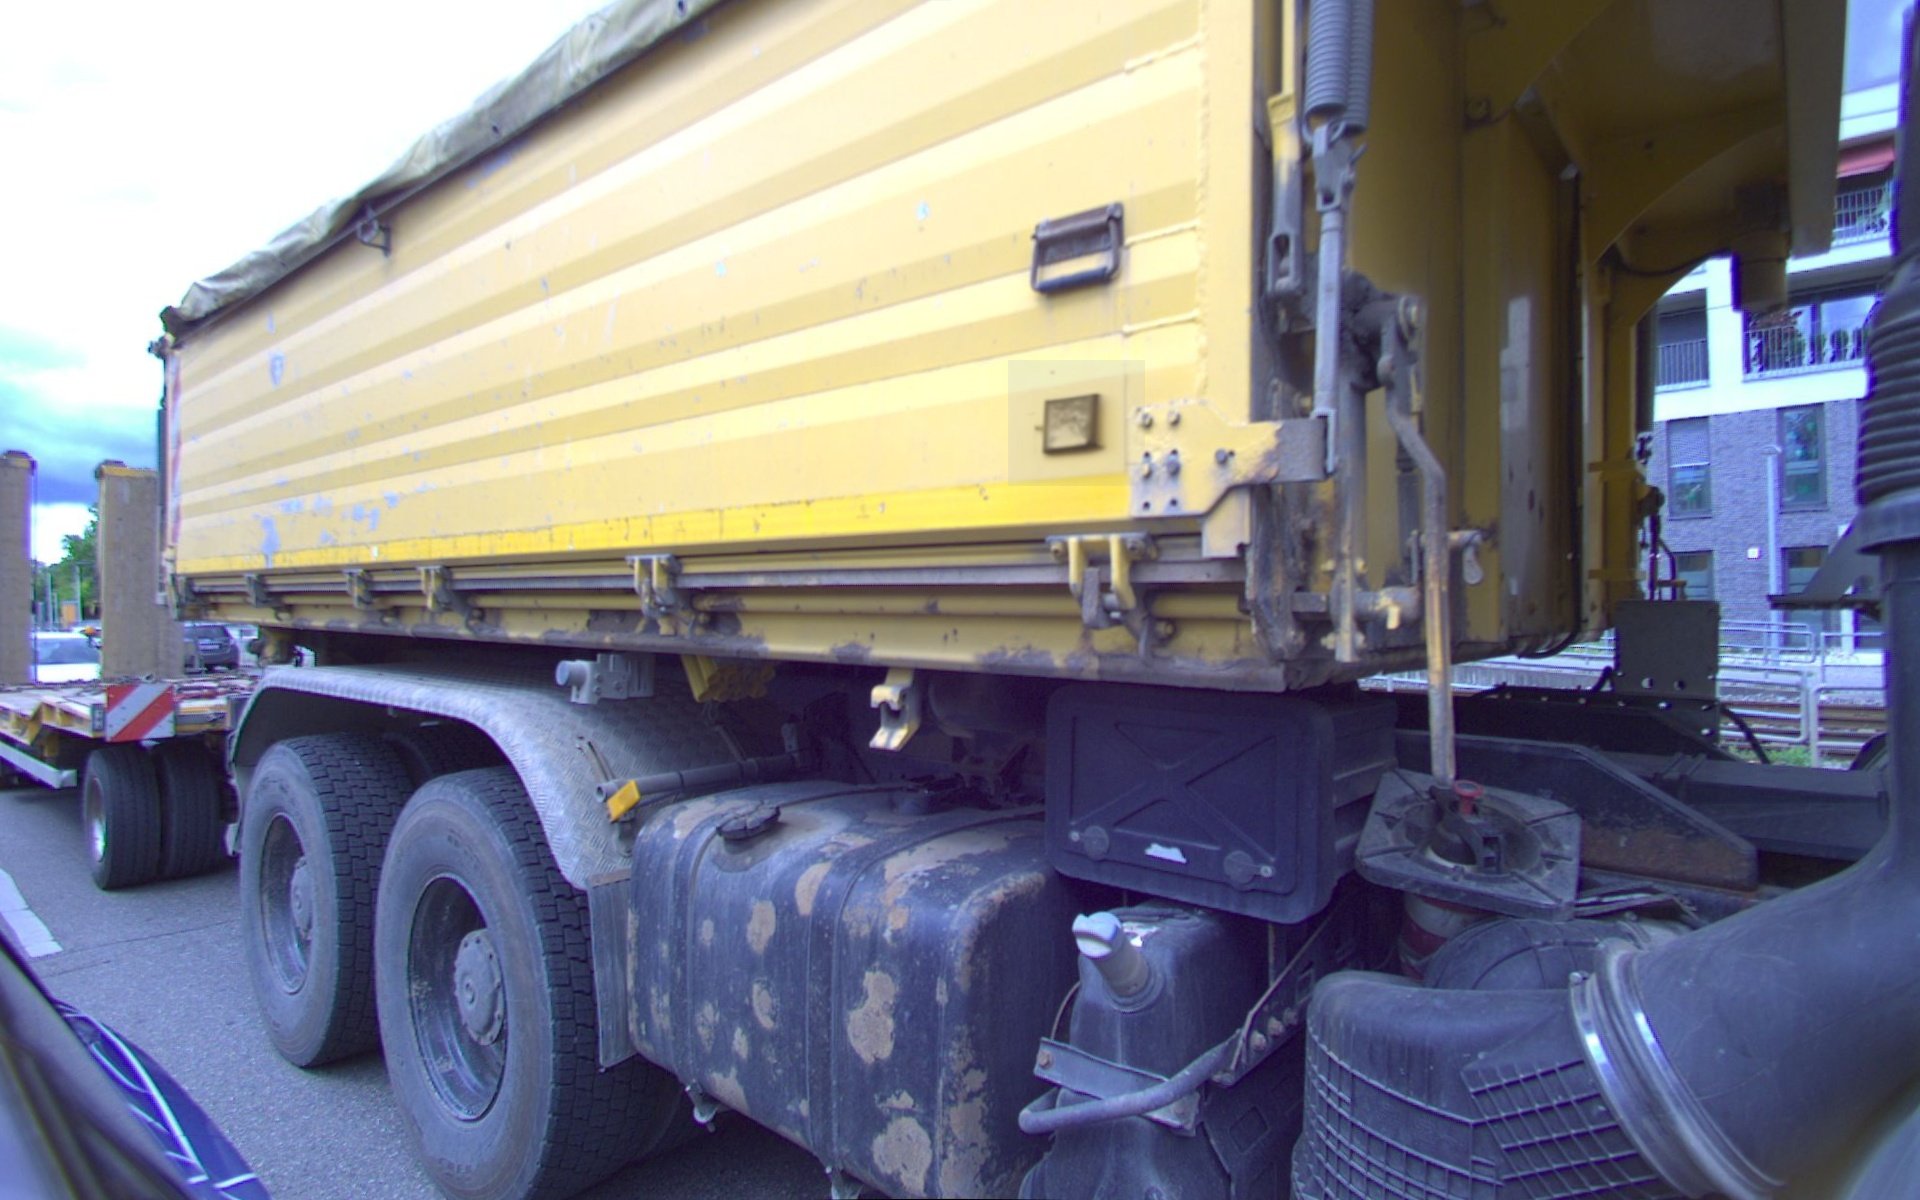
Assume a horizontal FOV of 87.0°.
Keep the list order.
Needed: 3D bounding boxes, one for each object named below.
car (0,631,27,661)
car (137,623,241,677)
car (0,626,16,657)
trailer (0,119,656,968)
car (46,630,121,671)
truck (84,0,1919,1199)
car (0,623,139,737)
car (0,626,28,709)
[{"bbox_3d":[-50.103,2.395,52.863,3.564,1.469,1.683,-2,-1,41],"label":"car"},{"bbox_3d":[-23.311,1.484,30.555,4.042,1.480,1.758,-2,-1,42],"label":"car"},{"bbox_3d":[-57.780,2.466,60.212,4.861,1.785,1.863,-2,-1,41],"label":"car"},{"bbox_3d":[-6.871,-0.142,8.850,10.909,3.548,2.678,-2,-1,41],"label":"trailer"},{"bbox_3d":[-34.623,1.958,39.944,4.277,1.452,1.743,-2,-1,43],"label":"car"},{"bbox_3d":[0.147,-0.038,2.683,7.775,3.026,2.692,-1,0,41],"label":"truck"},{"bbox_3d":[-14.141,1.127,15.591,3.998,1.490,1.671,-1,0,41],"label":"car"},{"bbox_3d":[-19.614,1.295,19.767,3.998,1.490,1.671,-1,0,41],"label":"car"}]
